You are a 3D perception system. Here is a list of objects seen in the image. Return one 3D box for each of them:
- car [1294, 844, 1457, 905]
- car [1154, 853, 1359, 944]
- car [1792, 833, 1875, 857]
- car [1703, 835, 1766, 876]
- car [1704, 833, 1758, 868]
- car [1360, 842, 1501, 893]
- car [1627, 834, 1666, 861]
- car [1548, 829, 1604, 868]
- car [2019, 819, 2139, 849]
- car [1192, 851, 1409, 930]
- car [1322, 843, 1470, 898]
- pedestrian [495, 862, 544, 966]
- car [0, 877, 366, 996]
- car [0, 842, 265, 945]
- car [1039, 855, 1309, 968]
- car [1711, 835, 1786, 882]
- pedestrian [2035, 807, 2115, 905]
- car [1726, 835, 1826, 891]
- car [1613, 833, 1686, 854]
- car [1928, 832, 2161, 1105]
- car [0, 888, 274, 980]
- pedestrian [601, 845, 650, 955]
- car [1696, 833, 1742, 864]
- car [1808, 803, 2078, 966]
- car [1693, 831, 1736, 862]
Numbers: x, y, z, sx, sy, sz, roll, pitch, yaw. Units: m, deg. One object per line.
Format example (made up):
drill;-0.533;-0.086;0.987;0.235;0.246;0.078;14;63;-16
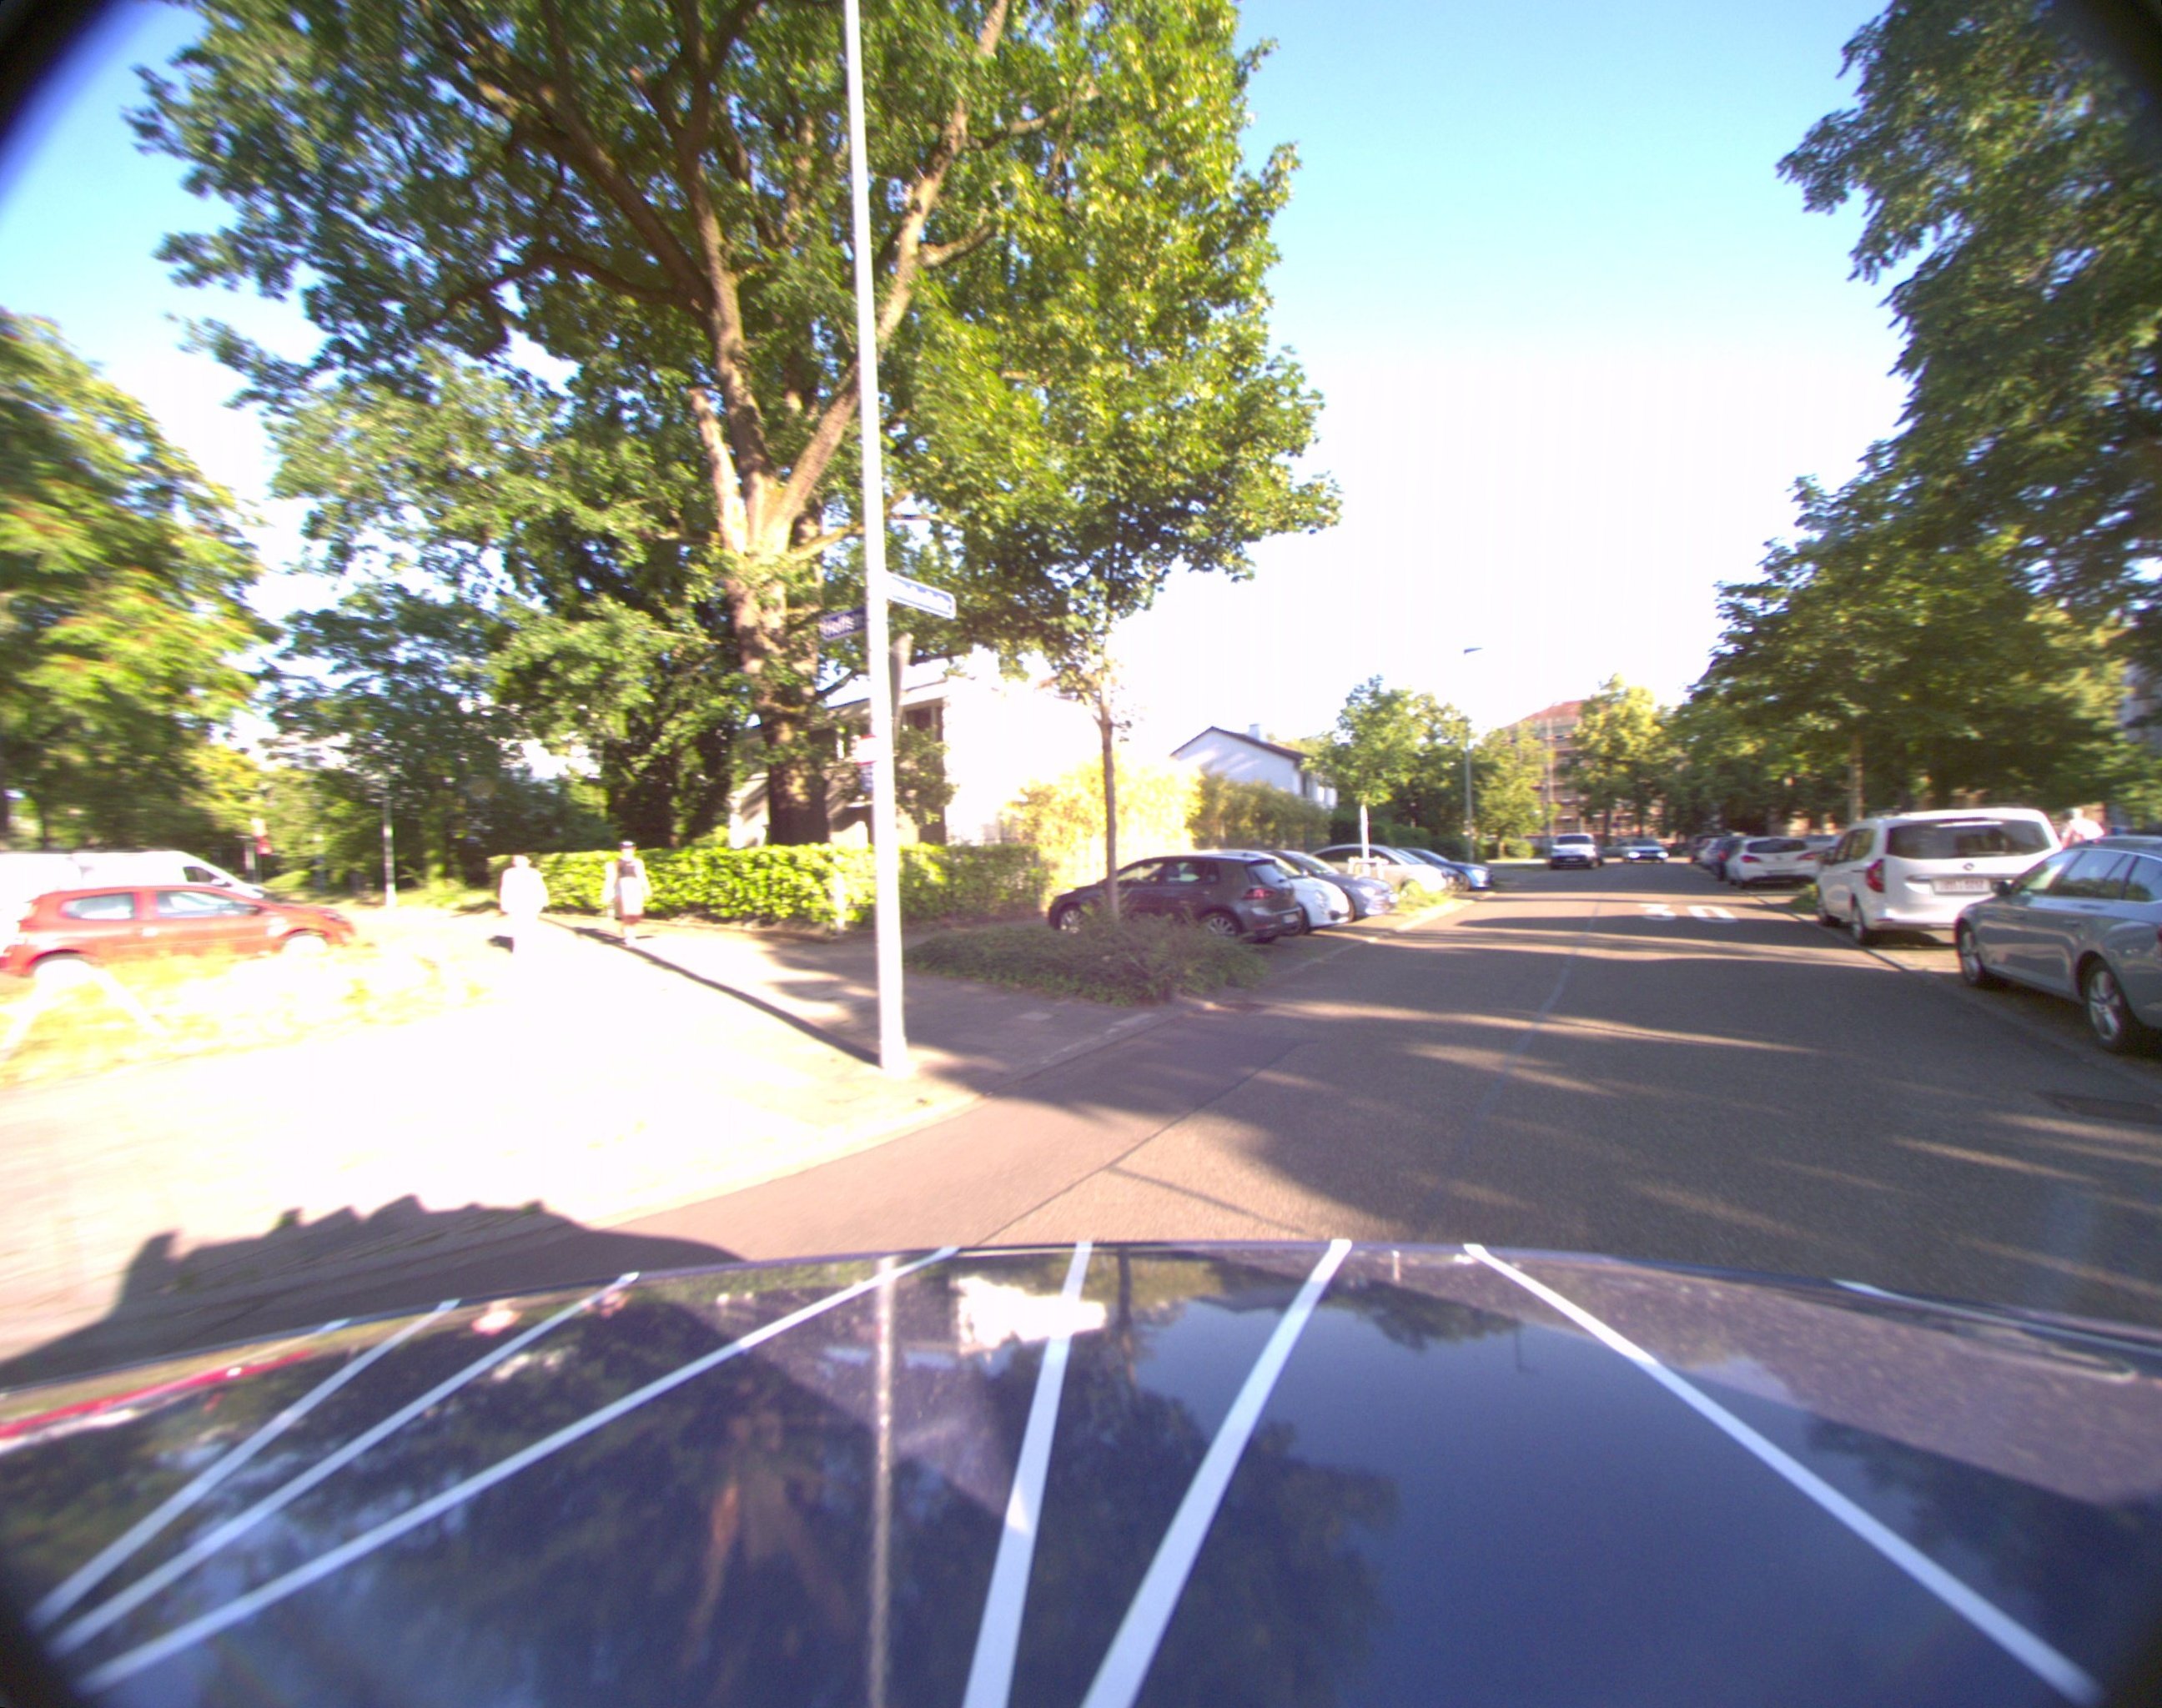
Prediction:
car;8.148;0.505;21.093;3.912;1.529;1.748;0;2;34
car;3.251;0.736;14.217;3.346;1.483;1.641;0;2;35
car;50.591;-0.562;51.171;1.690;1.489;3.569;-2;0;-19
car;26.442;0.036;30.836;1.713;1.500;3.686;-2;0;38
car;30.153;-0.176;35.332;1.713;1.500;3.686;-2;0;38
car;11.370;0.406;24.796;3.912;1.529;1.748;0;2;34
car;35.202;-0.439;47.279;1.778;1.526;4.355;-1;1;38
car;26.382;-0.316;40.430;2.055;1.919;4.457;-2;1;38
car;53.930;-1.050;41.150;1.676;1.489;3.569;-2;0;-19
car;4.626;0.690;16.306;4.087;1.449;1.815;0;2;38
car;9.597;0.467;23.220;3.912;1.529;1.748;0;2;34
pedestrian;-8.874;0.932;12.009;0.664;1.572;0.436;-1;1;41
car;-14.121;1.170;12.077;1.713;1.412;3.687;-1;1;35
car;-28.540;1.053;22.291;2.214;2.685;5.921;-1;1;35
car;1.412;0.831;12.256;3.989;1.507;1.648;-1;1;36
car;23.398;0.130;26.743;1.713;1.500;3.686;-2;0;38
pedestrian;18.289;0.032;14.005;0.714;1.727;0.749;-1;1;37
car;20.361;0.234;22.387;1.713;1.500;3.316;-2;0;35
car;48.737;-0.906;65.266;2.287;1.674;4.506;1;-1;-18
car;8.529;0.641;5.776;1.863;1.549;4.847;-2;0;37
car;-19.015;1.500;14.942;1.713;1.412;4.067;-1;1;35
pedestrian;-7.549;0.744;12.587;0.664;1.765;0.436;-1;1;41
car;33.910;-0.316;40.471;1.713;1.500;3.686;-2;0;38
car;12.208;0.328;11.101;1.757;1.905;4.246;-2;1;37
car;36.262;-0.470;43.562;1.713;1.673;3.686;-2;1;38
